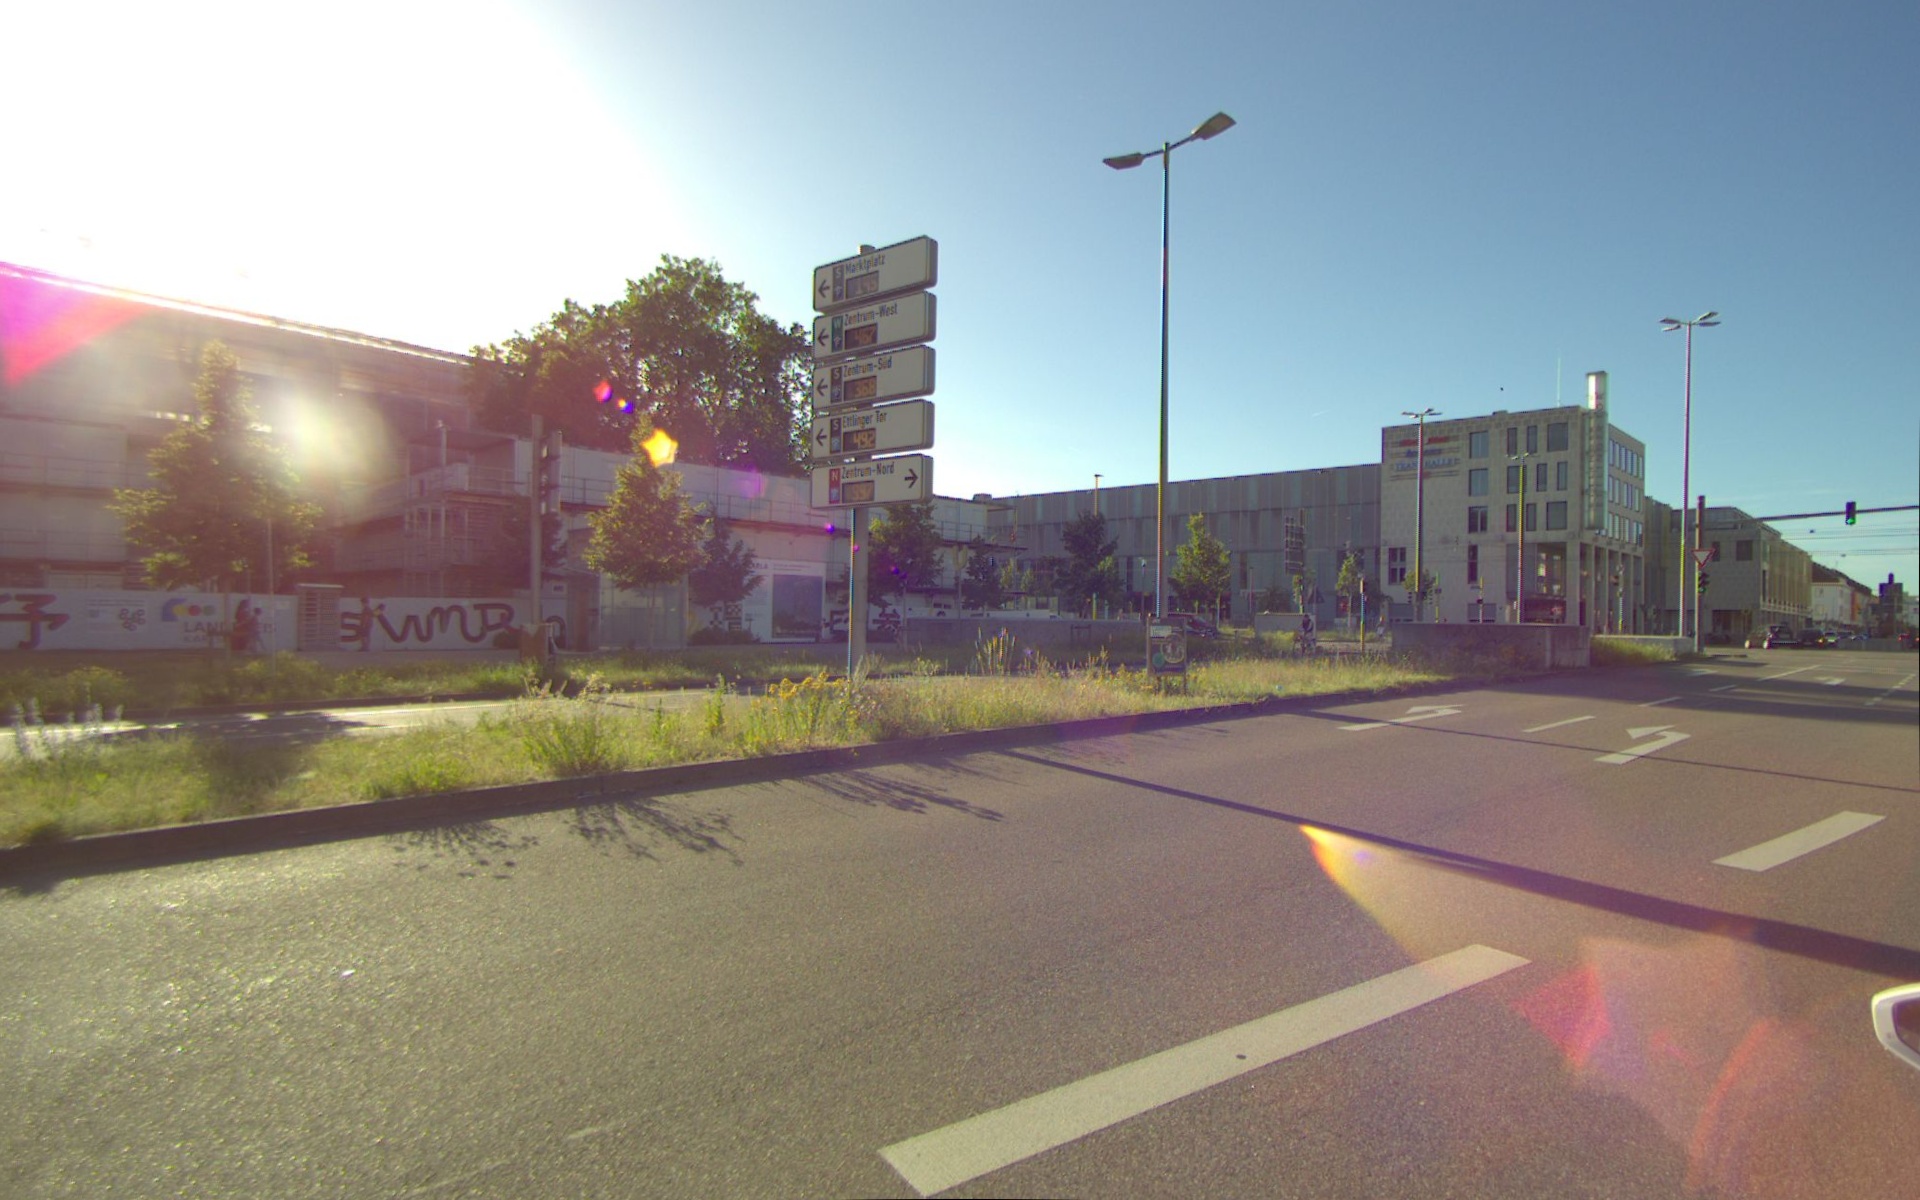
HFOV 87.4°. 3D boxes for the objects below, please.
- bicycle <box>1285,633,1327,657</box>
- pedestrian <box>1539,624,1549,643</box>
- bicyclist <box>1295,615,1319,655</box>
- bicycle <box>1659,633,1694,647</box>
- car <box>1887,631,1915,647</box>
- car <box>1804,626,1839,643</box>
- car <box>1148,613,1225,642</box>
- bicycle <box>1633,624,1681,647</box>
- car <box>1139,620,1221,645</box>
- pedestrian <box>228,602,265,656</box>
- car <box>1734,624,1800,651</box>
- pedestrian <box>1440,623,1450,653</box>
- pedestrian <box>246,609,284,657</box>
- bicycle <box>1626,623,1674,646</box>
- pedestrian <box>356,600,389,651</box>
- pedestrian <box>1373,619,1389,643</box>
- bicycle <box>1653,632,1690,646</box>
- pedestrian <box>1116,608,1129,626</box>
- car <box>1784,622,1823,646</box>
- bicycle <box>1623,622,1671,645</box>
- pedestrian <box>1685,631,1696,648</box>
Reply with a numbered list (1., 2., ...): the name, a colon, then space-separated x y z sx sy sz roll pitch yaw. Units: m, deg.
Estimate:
1. bicycle: 13.287 1.711 38.579 1.934 0.873 0.607 1 -1 -39
2. pedestrian: 51.923 2.958 89.318 0.649 1.629 0.616 1 -1 -44
3. bicyclist: 13.329 1.326 38.622 0.675 1.508 0.602 1 0 -38
4. bicycle: 76.346 4.249 107.022 3.018 1.419 0.897 -1 -1 43
5. car: 101.674 4.182 108.575 1.970 1.572 3.981 0 -1 40
6. car: 78.041 3.103 90.990 4.613 1.374 1.974 0 0 -44
7. car: 14.893 1.793 66.211 4.584 1.834 1.864 -1 -3 39
8. bicycle: 65.457 3.303 94.343 3.581 2.040 1.080 -1 -1 43
9. car: 13.536 1.986 61.818 4.584 1.392 1.864 -1 -3 39
10. pedestrian: -21.481 0.862 30.243 0.573 1.579 0.830 0 0 44
11. car: 50.410 2.325 62.813 1.745 1.585 3.791 0 -1 13
12. pedestrian: 34.132 2.661 70.678 0.507 2.040 0.623 0 -1 34
13. pedestrian: -20.526 0.966 29.675 0.573 1.396 0.830 0 -1 44
14. bicycle: 64.224 3.215 93.544 3.581 2.040 1.080 -1 -1 43
15. pedestrian: -19.872 0.849 33.980 0.573 1.711 0.830 0 0 44
16. pedestrian: 26.742 1.977 63.797 0.713 1.522 0.800 0 -1 37
17. bicycle: 74.111 4.075 104.614 3.018 1.419 0.897 -1 -1 43
18. pedestrian: 13.151 1.378 81.513 0.791 1.522 0.721 0 -1 39
19. car: 69.143 2.780 82.305 4.614 1.766 1.974 0 0 -44
20. bicycle: 63.303 3.104 92.585 3.577 2.040 1.082 0 -1 39
21. pedestrian: 72.520 3.938 99.678 0.729 1.629 0.625 0 -1 19
